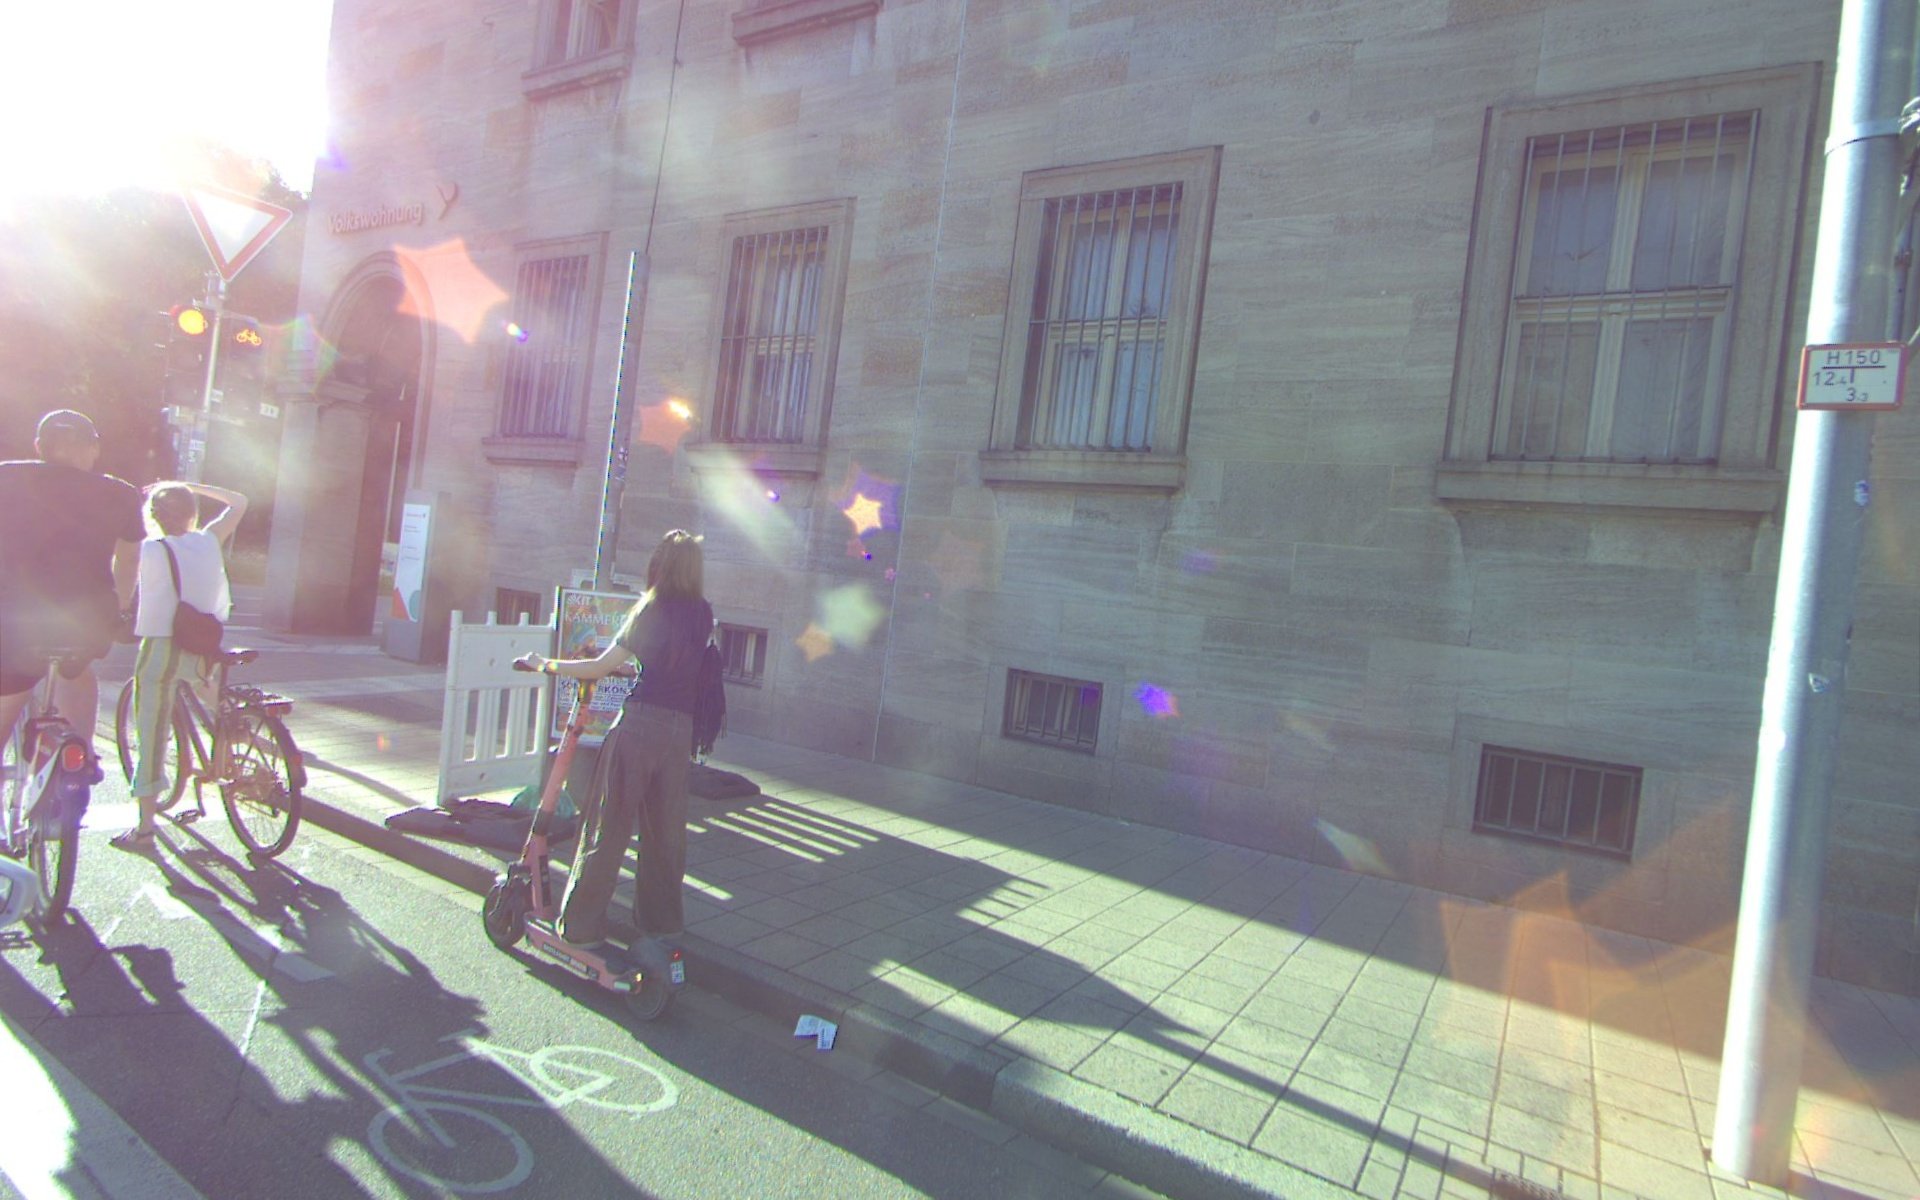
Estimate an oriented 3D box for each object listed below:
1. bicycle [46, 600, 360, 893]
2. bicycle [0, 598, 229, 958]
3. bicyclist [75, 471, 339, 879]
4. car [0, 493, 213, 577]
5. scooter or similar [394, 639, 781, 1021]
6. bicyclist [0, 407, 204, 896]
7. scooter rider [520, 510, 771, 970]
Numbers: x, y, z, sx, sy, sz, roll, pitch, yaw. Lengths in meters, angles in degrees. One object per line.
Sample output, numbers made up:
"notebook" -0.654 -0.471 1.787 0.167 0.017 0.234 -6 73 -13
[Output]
"bicycle" -3.712 0.631 4.887 1.718 1.057 0.582 7 0 33
"bicycle" -3.724 0.593 3.991 1.717 1.057 0.624 7 0 31
"bicyclist" -3.645 0.318 4.866 0.934 1.760 0.584 7 0 32
"car" -23.483 -1.747 27.348 1.967 1.533 4.586 6 -2 32
"scooter or similar" -1.456 0.815 3.947 1.249 1.164 0.575 7 0 22
"bicyclist" -3.660 0.172 3.985 0.897 1.736 0.624 7 0 30
"scooter rider" -1.201 0.491 3.845 0.569 1.581 0.544 6 0 43
